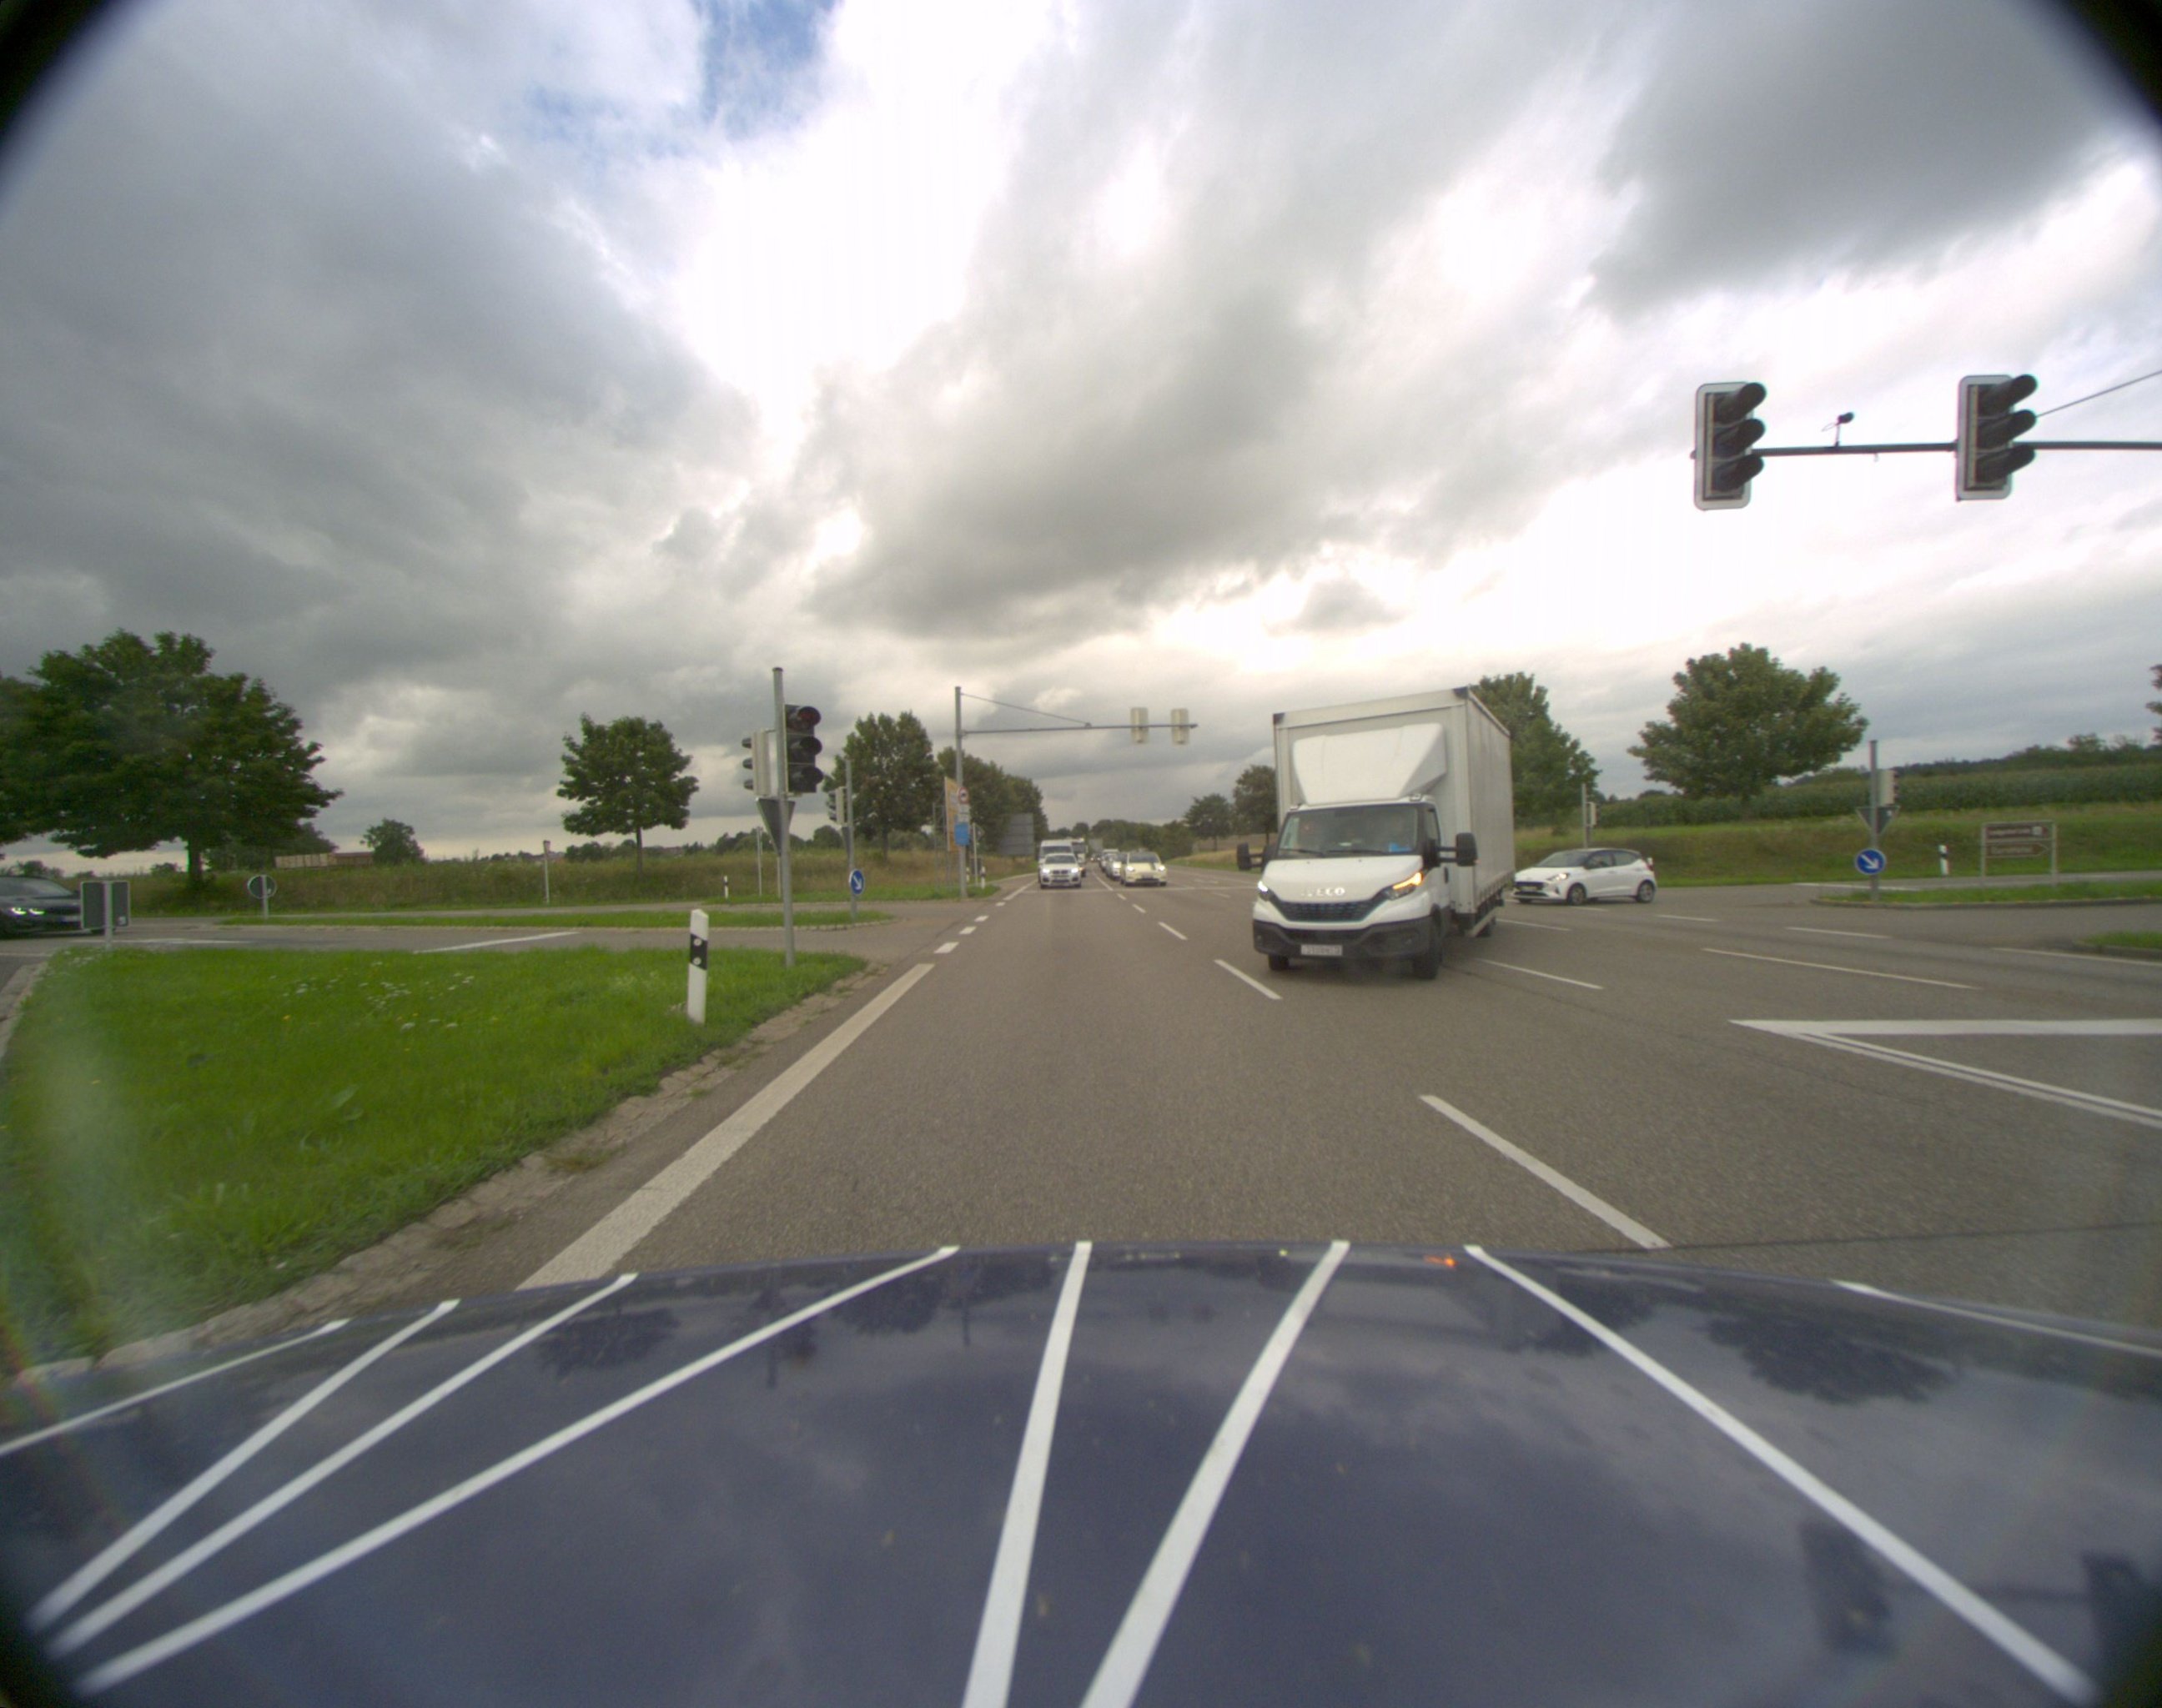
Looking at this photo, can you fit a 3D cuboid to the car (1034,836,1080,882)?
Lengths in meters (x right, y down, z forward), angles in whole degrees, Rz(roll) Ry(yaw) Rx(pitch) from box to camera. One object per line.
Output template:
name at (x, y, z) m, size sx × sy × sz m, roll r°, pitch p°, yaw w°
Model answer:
car at (-1.324, 0.261, 44.734) m, size 2.396 × 2.427 × 5.512 m, roll -3°, pitch 0°, yaw 0°

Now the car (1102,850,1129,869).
car at (2.913, 0.448, 65.170) m, size 1.999 × 1.583 × 4.446 m, roll -1°, pitch 0°, yaw -1°

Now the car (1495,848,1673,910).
car at (13.564, 0.619, 20.553) m, size 4.002 × 1.444 × 1.808 m, roll -2°, pitch 1°, yaw -15°

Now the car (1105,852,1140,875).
car at (2.711, 0.585, 51.020) m, size 1.999 × 1.446 × 4.580 m, roll -1°, pitch 0°, yaw -1°

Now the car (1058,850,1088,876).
car at (-0.558, 0.601, 53.455) m, size 1.999 × 1.619 × 4.274 m, roll -3°, pitch 0°, yaw -1°

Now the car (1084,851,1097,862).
car at (1.826, 0.430, 150.007) m, size 2.169 × 2.002 × 4.060 m, roll -2°, pitch 0°, yaw -4°

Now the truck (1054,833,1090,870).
truck at (-0.833, -0.248, 69.426) m, size 3.107 × 3.091 × 7.405 m, roll -1°, pitch 0°, yaw -1°

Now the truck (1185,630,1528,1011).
truck at (4.951, -0.386, 11.896) m, size 2.831 × 3.742 × 8.817 m, roll 0°, pitch 1°, yaw 35°

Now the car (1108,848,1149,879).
car at (2.747, 0.514, 44.557) m, size 1.999 × 1.620 × 4.322 m, roll -3°, pitch 0°, yaw -1°

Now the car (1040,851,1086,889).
car at (-0.853, 0.716, 36.429) m, size 1.999 × 1.619 × 4.274 m, roll -3°, pitch 0°, yaw -1°

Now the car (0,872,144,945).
car at (-24.953, 1.247, 17.712) m, size 4.659 × 1.494 × 2.002 m, roll -1°, pitch 1°, yaw 12°

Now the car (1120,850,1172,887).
car at (3.063, 0.653, 36.888) m, size 1.999 × 1.555 × 4.747 m, roll -3°, pitch 0°, yaw -1°

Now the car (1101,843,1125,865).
car at (3.128, -0.027, 75.381) m, size 2.168 × 2.002 × 4.680 m, roll -1°, pitch 0°, yaw 0°
